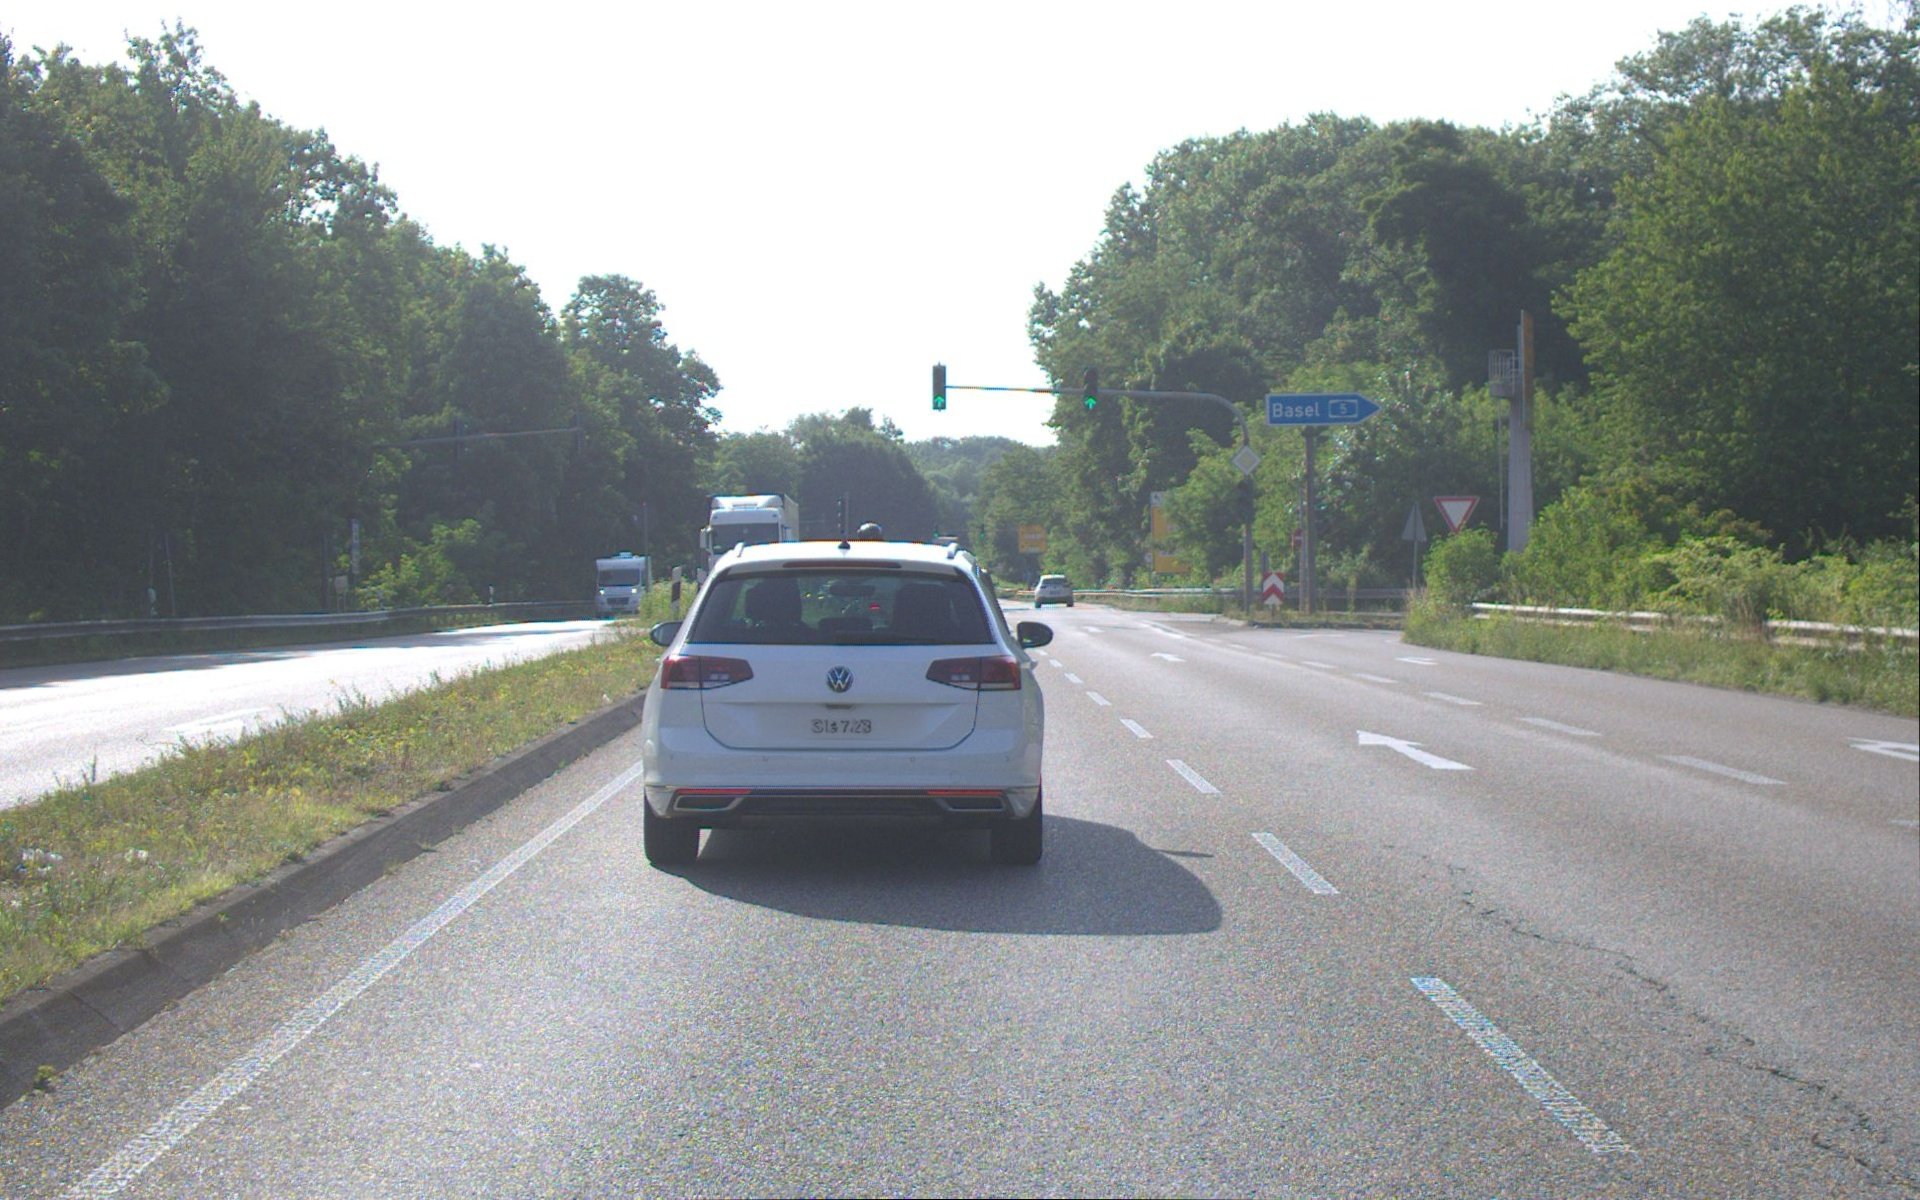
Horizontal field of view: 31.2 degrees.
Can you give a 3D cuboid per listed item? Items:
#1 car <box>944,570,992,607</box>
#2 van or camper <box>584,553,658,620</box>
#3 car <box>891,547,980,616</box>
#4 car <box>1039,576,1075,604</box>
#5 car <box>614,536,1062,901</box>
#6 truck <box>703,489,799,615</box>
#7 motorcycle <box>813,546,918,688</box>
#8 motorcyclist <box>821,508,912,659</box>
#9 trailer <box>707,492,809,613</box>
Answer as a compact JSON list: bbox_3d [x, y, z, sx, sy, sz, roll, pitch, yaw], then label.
[{"bbox_3d":[0.306,-0.443,130.200,1.761,1.375,3.971,1,0,1],"label":"car"},{"bbox_3d":[-14.572,-0.595,148.096,2.413,2.701,6.437,-3,0,0],"label":"van or camper"},{"bbox_3d":[-0.494,-0.394,72.231,1.761,1.375,3.971,1,0,1],"label":"car"},{"bbox_3d":[4.902,-0.502,174.821,1.761,1.375,3.971,1,0,1],"label":"car"},{"bbox_3d":[-0.500,0.467,16.841,1.870,1.516,4.834,1,1,0],"label":"car"},{"bbox_3d":[-6.880,-1.571,113.853,2.890,3.984,6.722,1,0,-2],"label":"truck"},{"bbox_3d":[-1.015,0.162,37.750,0.909,1.448,2.689,-3,1,2],"label":"motorcycle"},{"bbox_3d":[-1.021,-0.180,37.774,0.884,1.610,1.290,1,0,2],"label":"motorcyclist"},{"bbox_3d":[-7.018,-1.613,121.348,2.991,3.982,14.014,1,0,-1],"label":"trailer"}]
